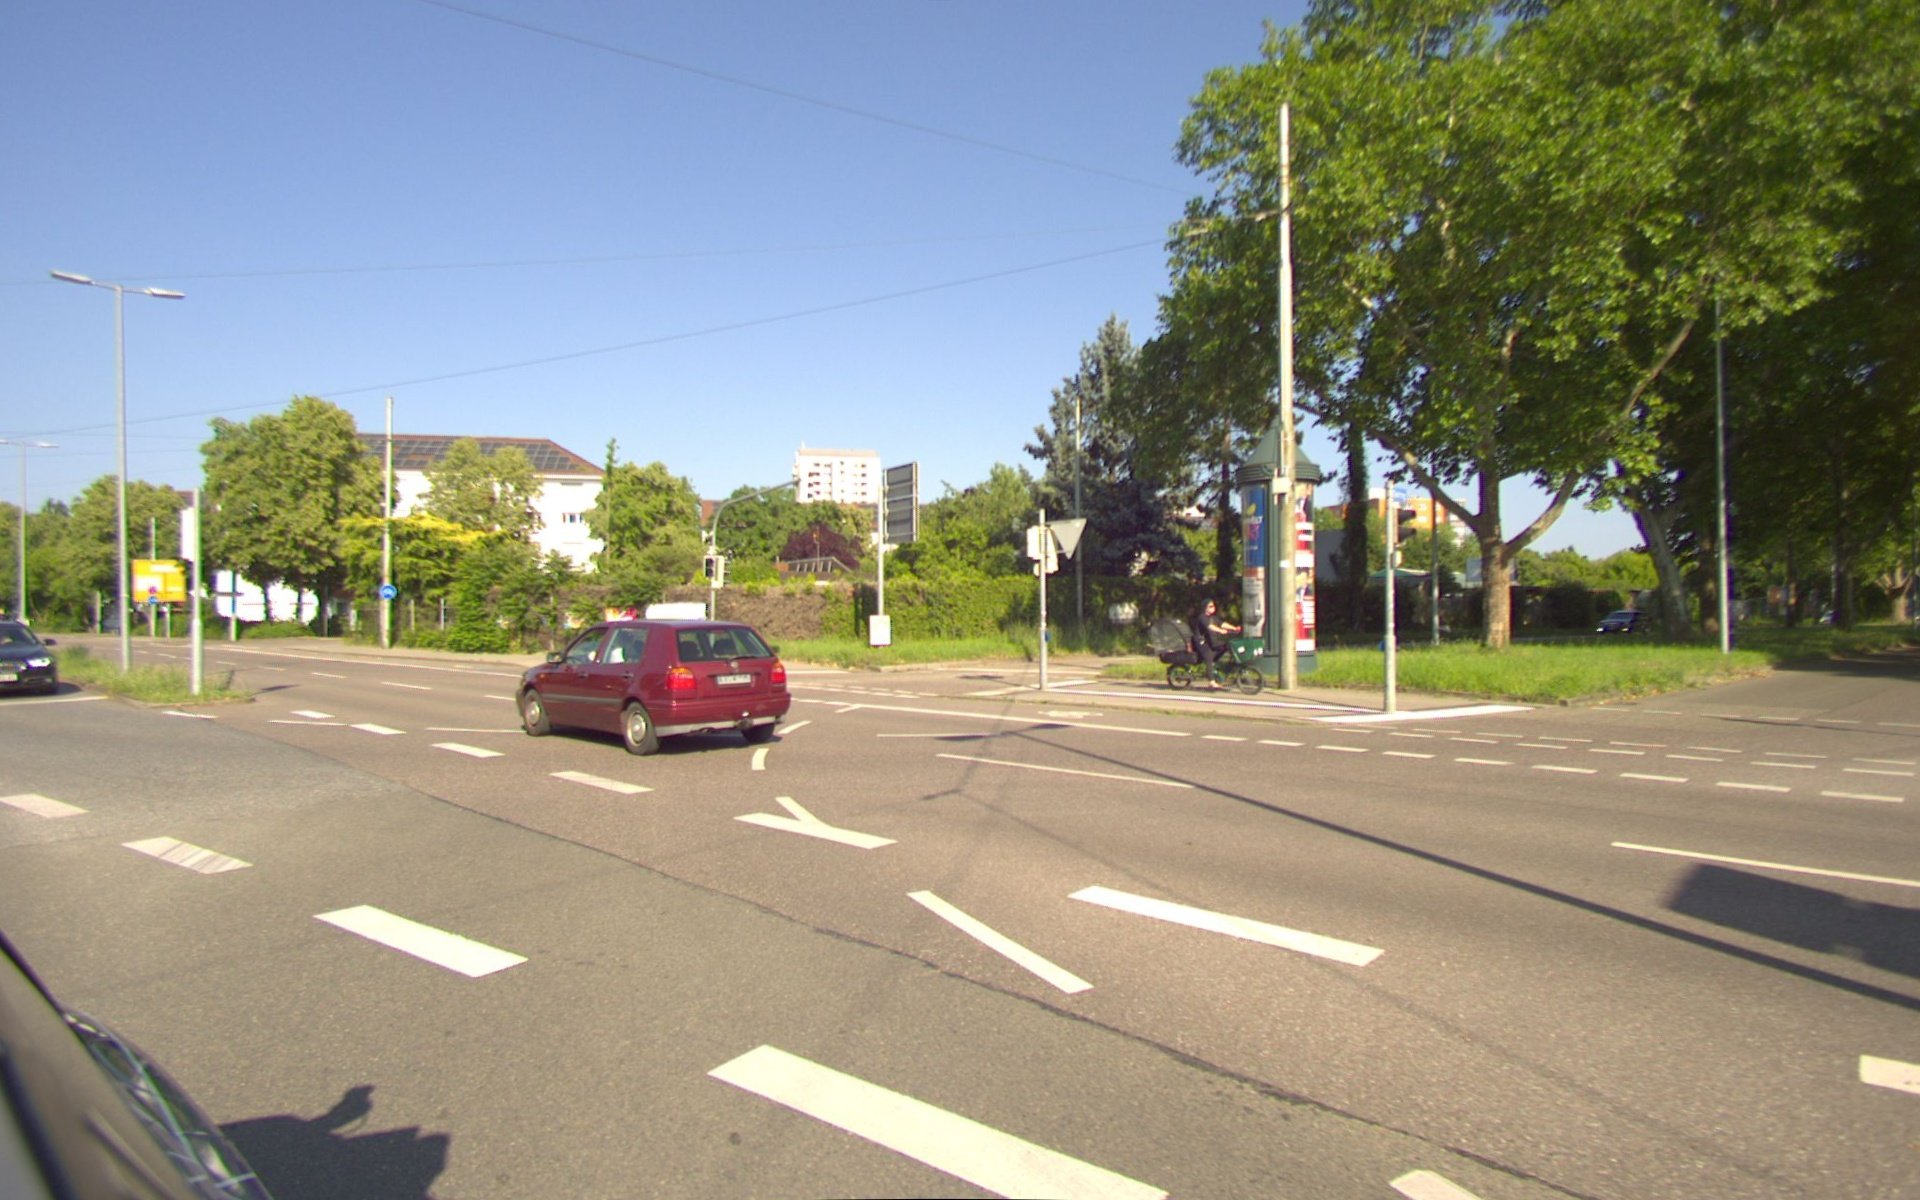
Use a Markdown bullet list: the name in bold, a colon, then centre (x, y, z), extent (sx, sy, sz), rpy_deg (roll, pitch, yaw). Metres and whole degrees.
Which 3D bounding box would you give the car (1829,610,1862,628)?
- **car**: centre (72.597, 1.541, 82.942), extent (3.371, 1.317, 1.511), rpy_deg (-2, 1, -40)

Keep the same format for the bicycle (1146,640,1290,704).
- **bicycle**: centre (4.663, 1.273, 18.494), extent (0.654, 1.057, 2.583), rpy_deg (1, -2, -43)

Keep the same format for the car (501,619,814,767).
- **car**: centre (-3.625, 0.947, 11.695), extent (4.134, 1.406, 1.634), rpy_deg (-2, -2, 44)

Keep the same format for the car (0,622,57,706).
- **car**: centre (-19.344, 1.242, 19.867), extent (4.641, 1.497, 1.742), rpy_deg (-2, 0, 40)

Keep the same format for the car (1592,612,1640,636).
- **car**: centre (39.429, 1.423, 60.784), extent (3.371, 1.317, 1.511), rpy_deg (-2, 1, -40)

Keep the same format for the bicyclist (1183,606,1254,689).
- **bicyclist**: centre (4.702, 0.855, 18.460), extent (0.654, 1.463, 1.052), rpy_deg (1, -2, -43)
